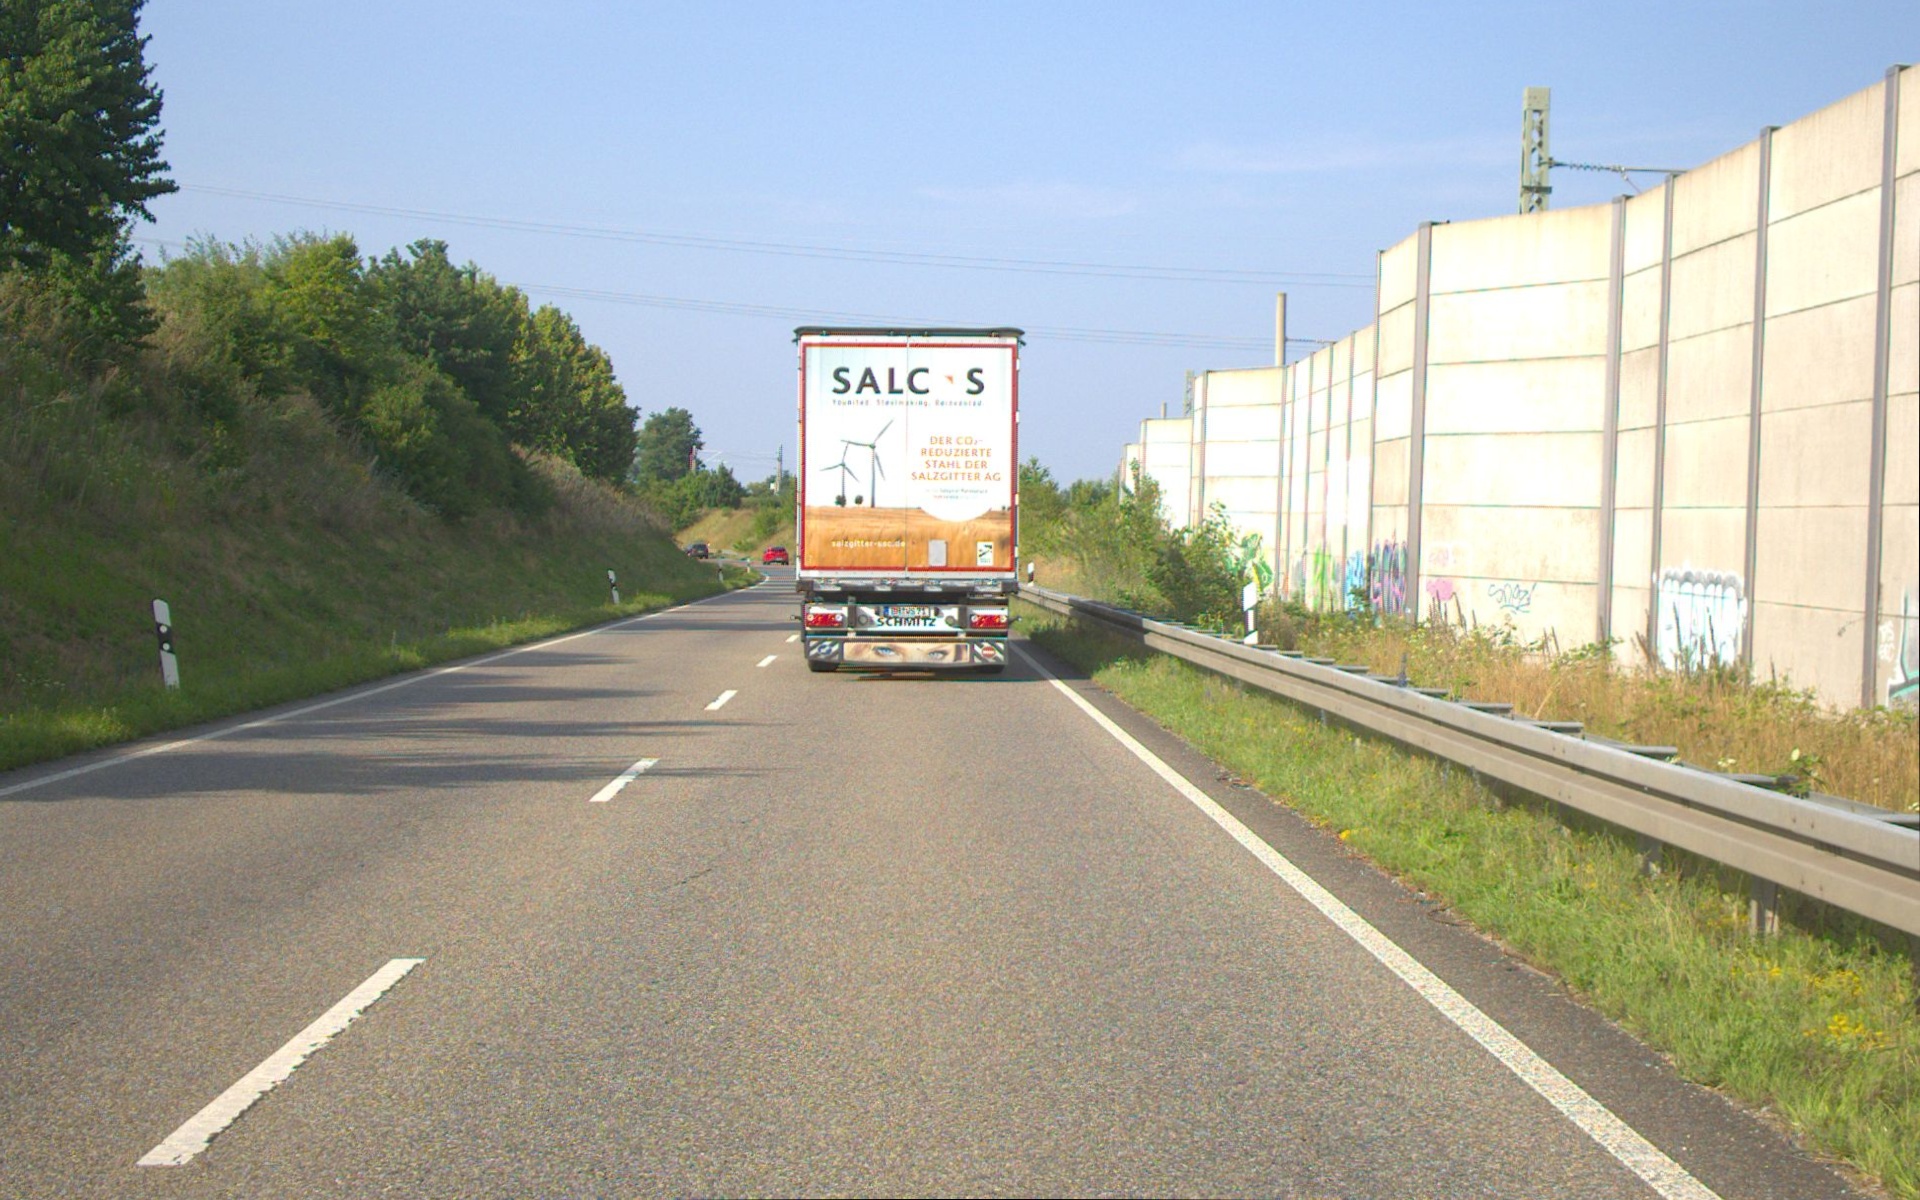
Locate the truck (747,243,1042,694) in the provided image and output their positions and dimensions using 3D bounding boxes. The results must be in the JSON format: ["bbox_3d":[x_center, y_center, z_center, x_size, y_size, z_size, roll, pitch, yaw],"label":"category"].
[{"bbox_3d":[-1.024,-1.610,44.920,3.290,5.072,12.039,0,1,-3],"label":"truck"}]
